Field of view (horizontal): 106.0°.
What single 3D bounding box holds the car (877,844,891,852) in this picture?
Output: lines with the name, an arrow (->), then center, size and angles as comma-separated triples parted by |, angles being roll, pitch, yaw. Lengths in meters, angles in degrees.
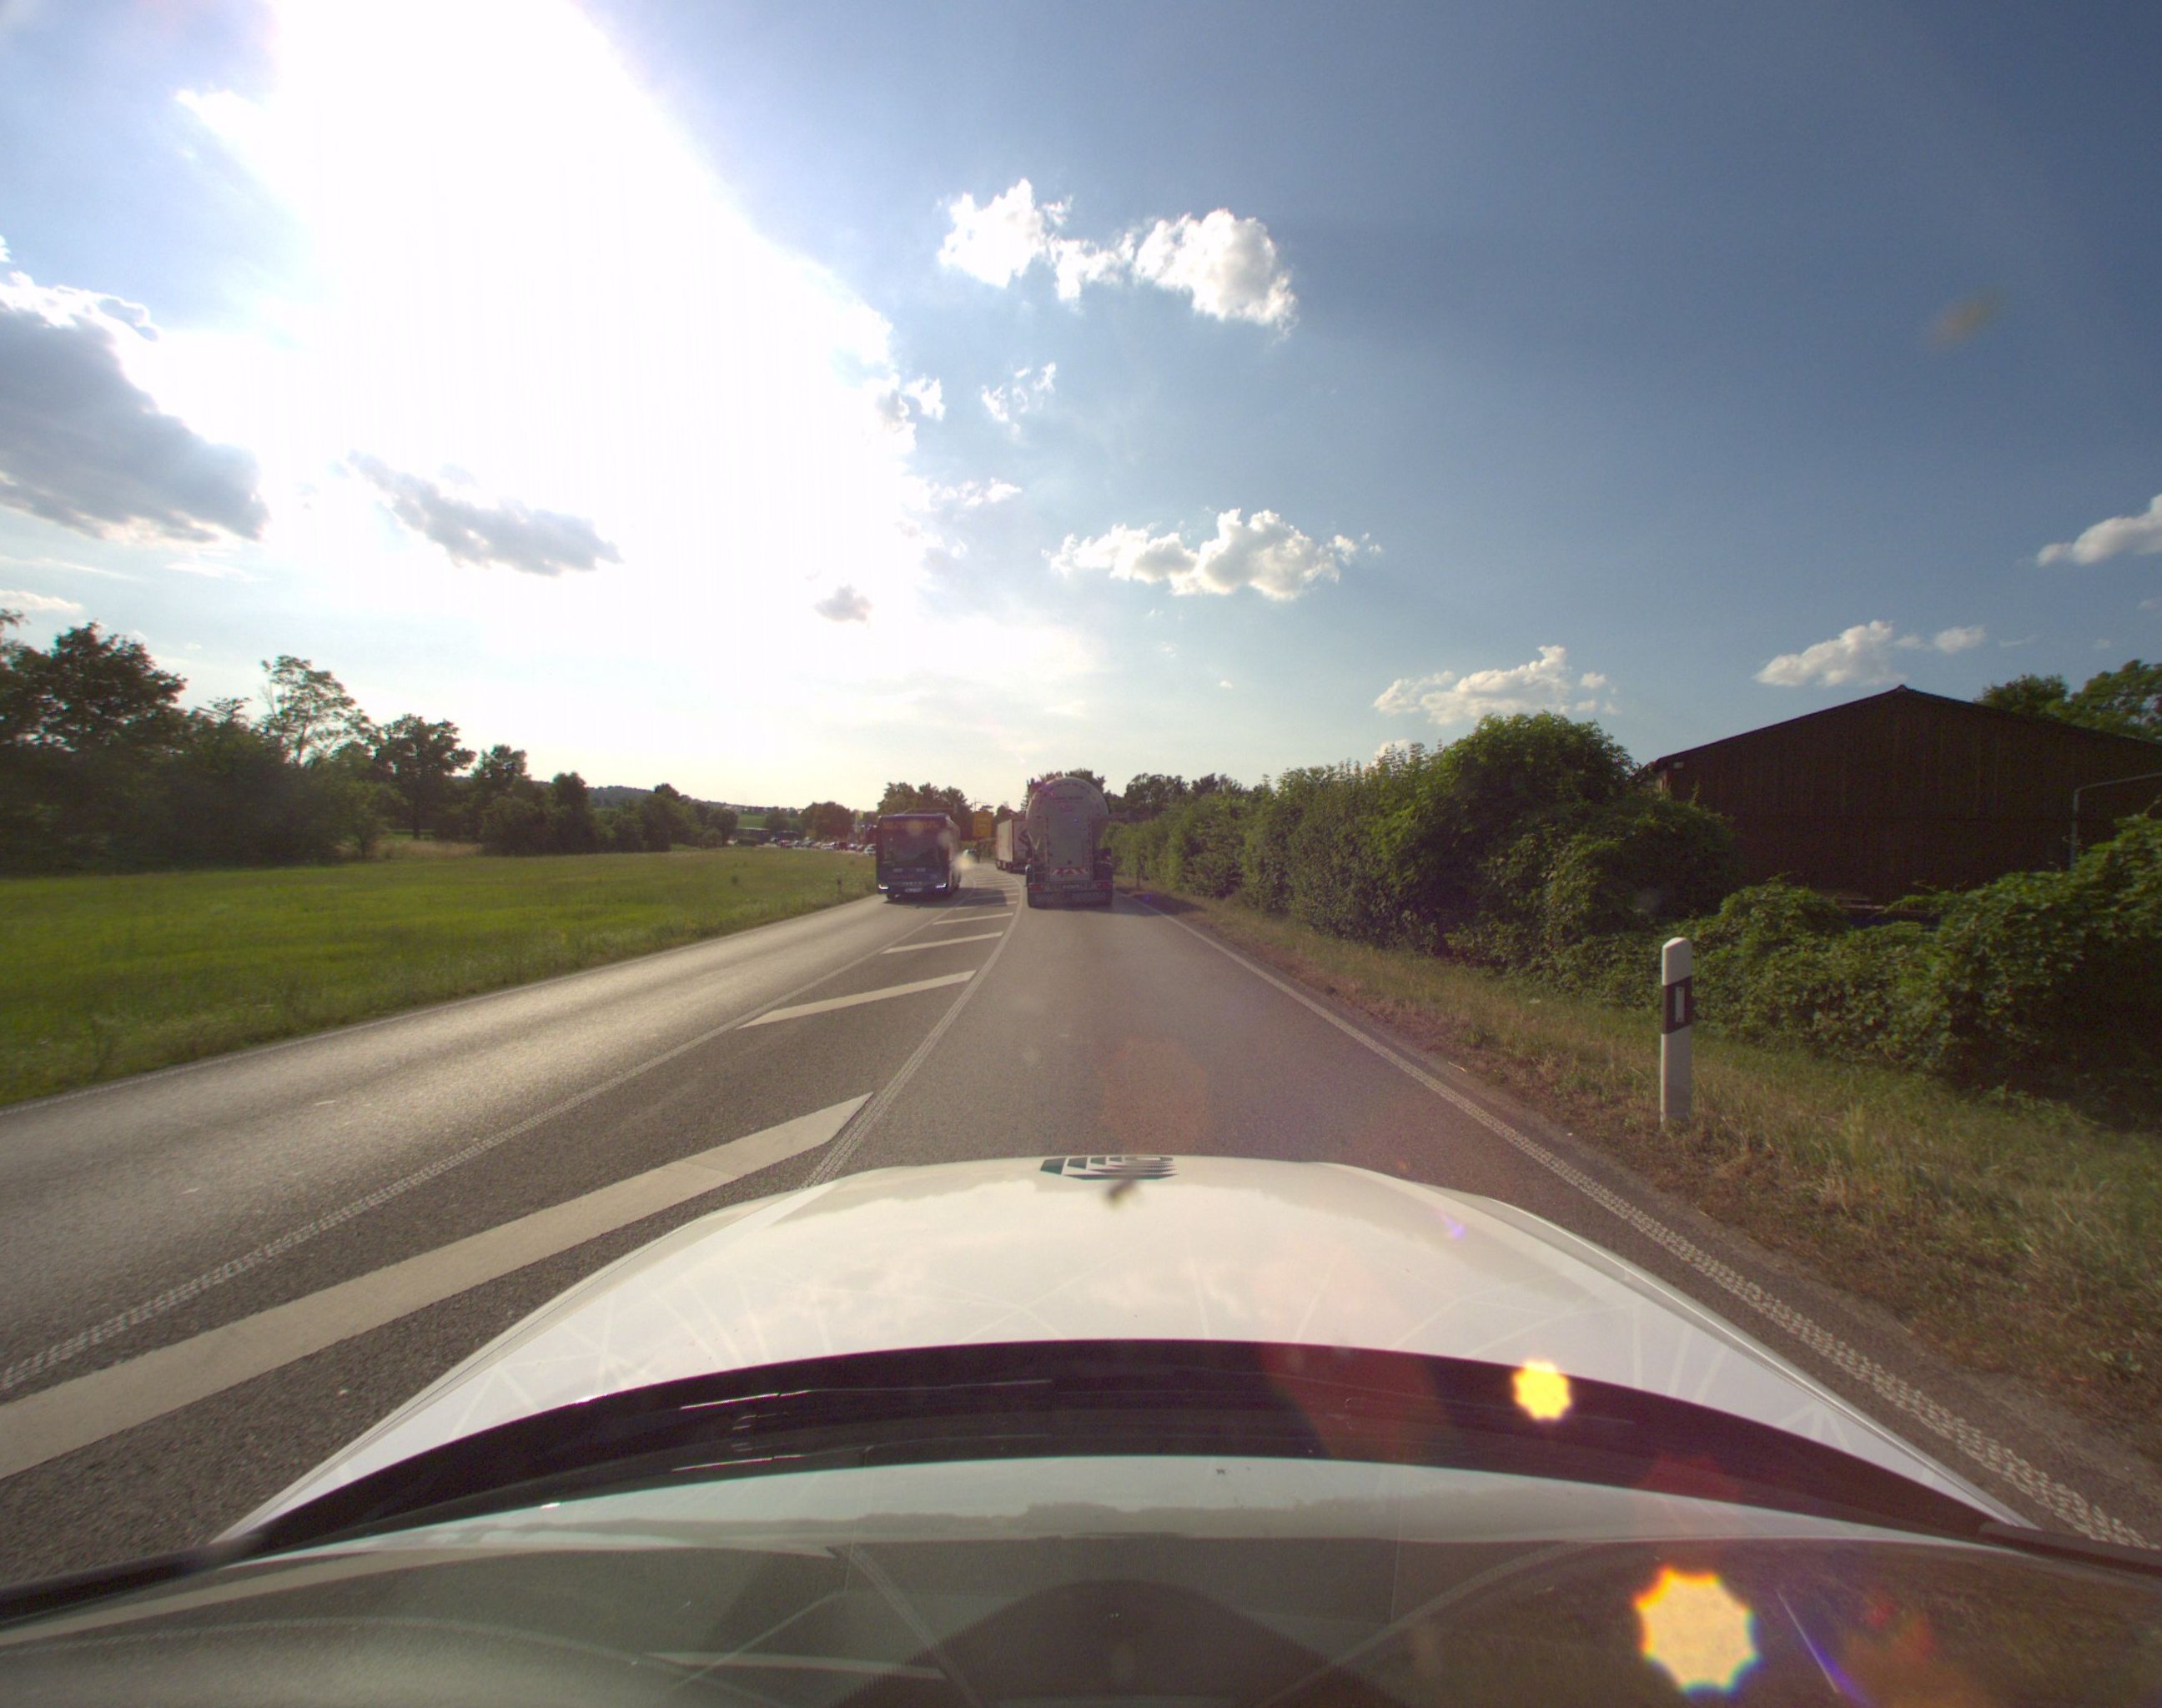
car -> -40.277, -1.221, 166.191 | 2.095, 1.599, 3.968 | 0, 0, -24

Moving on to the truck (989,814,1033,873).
truck -> -6.129, -0.836, 70.414 | 2.965, 4.887, 6.403 | 0, -1, -12

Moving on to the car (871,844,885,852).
car -> -39.181, -1.134, 157.026 | 1.890, 1.599, 3.968 | 0, 0, -24

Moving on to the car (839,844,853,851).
car -> -49.940, -1.395, 172.886 | 2.098, 1.599, 3.962 | 0, 0, -30

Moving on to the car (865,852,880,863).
car -> -33.011, 0.598, 128.742 | 1.849, 1.656, 3.970 | 0, -1, -22

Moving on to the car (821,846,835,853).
car -> -56.361, -1.044, 181.621 | 2.098, 1.599, 3.961 | 0, 0, -31

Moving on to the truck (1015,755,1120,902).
truck -> -0.534, -0.639, 28.966 | 2.968, 4.175, 11.653 | 0, -1, -2

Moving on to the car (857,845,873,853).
car -> -43.516, -1.088, 164.014 | 2.098, 1.599, 3.962 | 0, 0, -29

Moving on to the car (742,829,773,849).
car -> -86.284, -3.908, 217.134 | 3.571, 5.059, 13.086 | 0, 0, -41

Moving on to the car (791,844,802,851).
car -> -69.623, -1.659, 199.251 | 1.892, 1.599, 3.965 | 0, 0, -27

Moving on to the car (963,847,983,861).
car -> -13.175, 0.058, 98.779 | 1.996, 1.656, 3.981 | 0, -1, -14

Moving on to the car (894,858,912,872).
car -> -24.151, 1.434, 110.550 | 1.992, 1.725, 4.414 | 0, 1, -8

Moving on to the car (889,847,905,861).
car -> -20.391, 0.028, 90.422 | 1.695, 1.552, 4.135 | 0, -1, -12

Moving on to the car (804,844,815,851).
car -> -64.289, -1.558, 192.773 | 1.893, 1.599, 3.962 | 0, 0, -30

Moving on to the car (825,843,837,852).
car -> -49.705, -1.272, 161.616 | 1.849, 1.656, 3.968 | 0, -1, -24

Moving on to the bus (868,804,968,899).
bus -> -6.299, 0.008, 33.385 | 2.790, 3.182, 12.101 | 0, -1, -6

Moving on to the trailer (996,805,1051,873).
trailer -> -4.632, -0.983, 63.278 | 2.966, 4.882, 10.245 | 0, -1, -12

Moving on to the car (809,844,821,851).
car -> -61.184, -1.470, 187.386 | 1.894, 1.599, 3.960 | 0, 0, -31

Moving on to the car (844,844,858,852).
car -> -50.520, -1.283, 178.894 | 1.895, 1.599, 3.959 | 0, 0, -33
